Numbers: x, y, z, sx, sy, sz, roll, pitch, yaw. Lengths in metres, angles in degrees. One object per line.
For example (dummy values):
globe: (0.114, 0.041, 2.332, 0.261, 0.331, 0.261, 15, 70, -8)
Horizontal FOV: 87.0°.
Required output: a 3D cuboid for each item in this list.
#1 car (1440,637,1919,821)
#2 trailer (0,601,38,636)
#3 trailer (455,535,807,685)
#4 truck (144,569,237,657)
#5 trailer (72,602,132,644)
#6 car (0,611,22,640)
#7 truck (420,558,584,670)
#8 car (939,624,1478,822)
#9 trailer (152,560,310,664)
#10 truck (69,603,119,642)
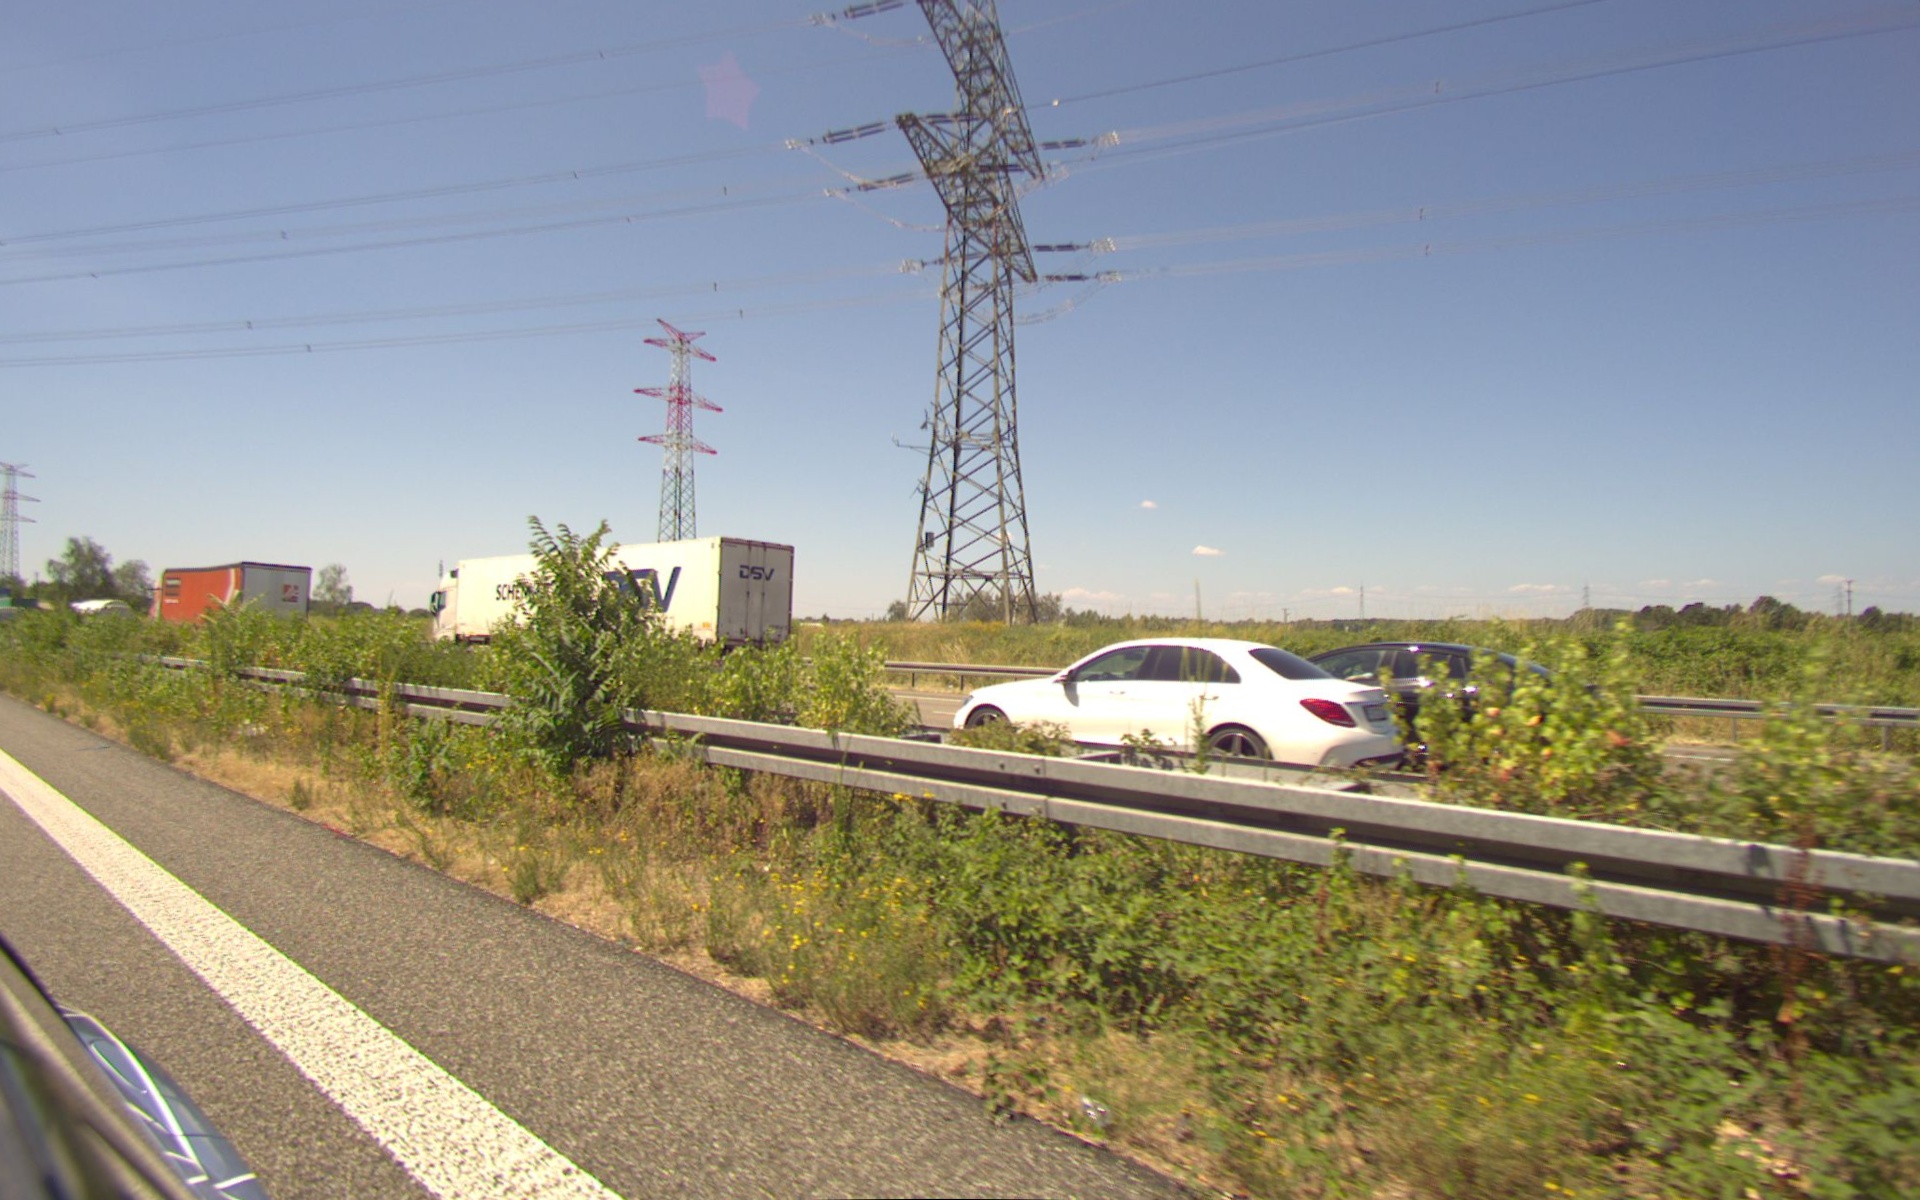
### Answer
car: (7.329, 1.164, 10.435, 3.998, 1.516, 1.743, -1, -3, 41)
trailer: (-116.348, 2.324, 124.383, 13.907, 4.116, 2.641, -1, -3, 41)
trailer: (-11.226, 0.421, 32.348, 15.969, 3.851, 2.824, -1, -3, 41)
truck: (-39.209, 0.703, 51.486, 5.907, 4.244, 2.572, -1, -3, 42)
trailer: (-74.530, 2.007, 87.797, 11.560, 3.398, 2.390, -1, -3, 42)
car: (-83.155, 2.178, 87.799, 6.028, 2.456, 1.972, -1, -3, 42)
truck: (-16.984, 0.565, 37.363, 6.844, 3.780, 2.806, -1, -3, 40)
car: (2.232, 1.011, 10.063, 4.962, 1.502, 1.731, -1, -2, 40)
trailer: (-34.353, 0.625, 47.306, 14.319, 4.270, 2.564, -1, -3, 41)
truck: (-77.514, 2.006, 90.515, 6.208, 3.404, 2.457, -1, -3, 41)
